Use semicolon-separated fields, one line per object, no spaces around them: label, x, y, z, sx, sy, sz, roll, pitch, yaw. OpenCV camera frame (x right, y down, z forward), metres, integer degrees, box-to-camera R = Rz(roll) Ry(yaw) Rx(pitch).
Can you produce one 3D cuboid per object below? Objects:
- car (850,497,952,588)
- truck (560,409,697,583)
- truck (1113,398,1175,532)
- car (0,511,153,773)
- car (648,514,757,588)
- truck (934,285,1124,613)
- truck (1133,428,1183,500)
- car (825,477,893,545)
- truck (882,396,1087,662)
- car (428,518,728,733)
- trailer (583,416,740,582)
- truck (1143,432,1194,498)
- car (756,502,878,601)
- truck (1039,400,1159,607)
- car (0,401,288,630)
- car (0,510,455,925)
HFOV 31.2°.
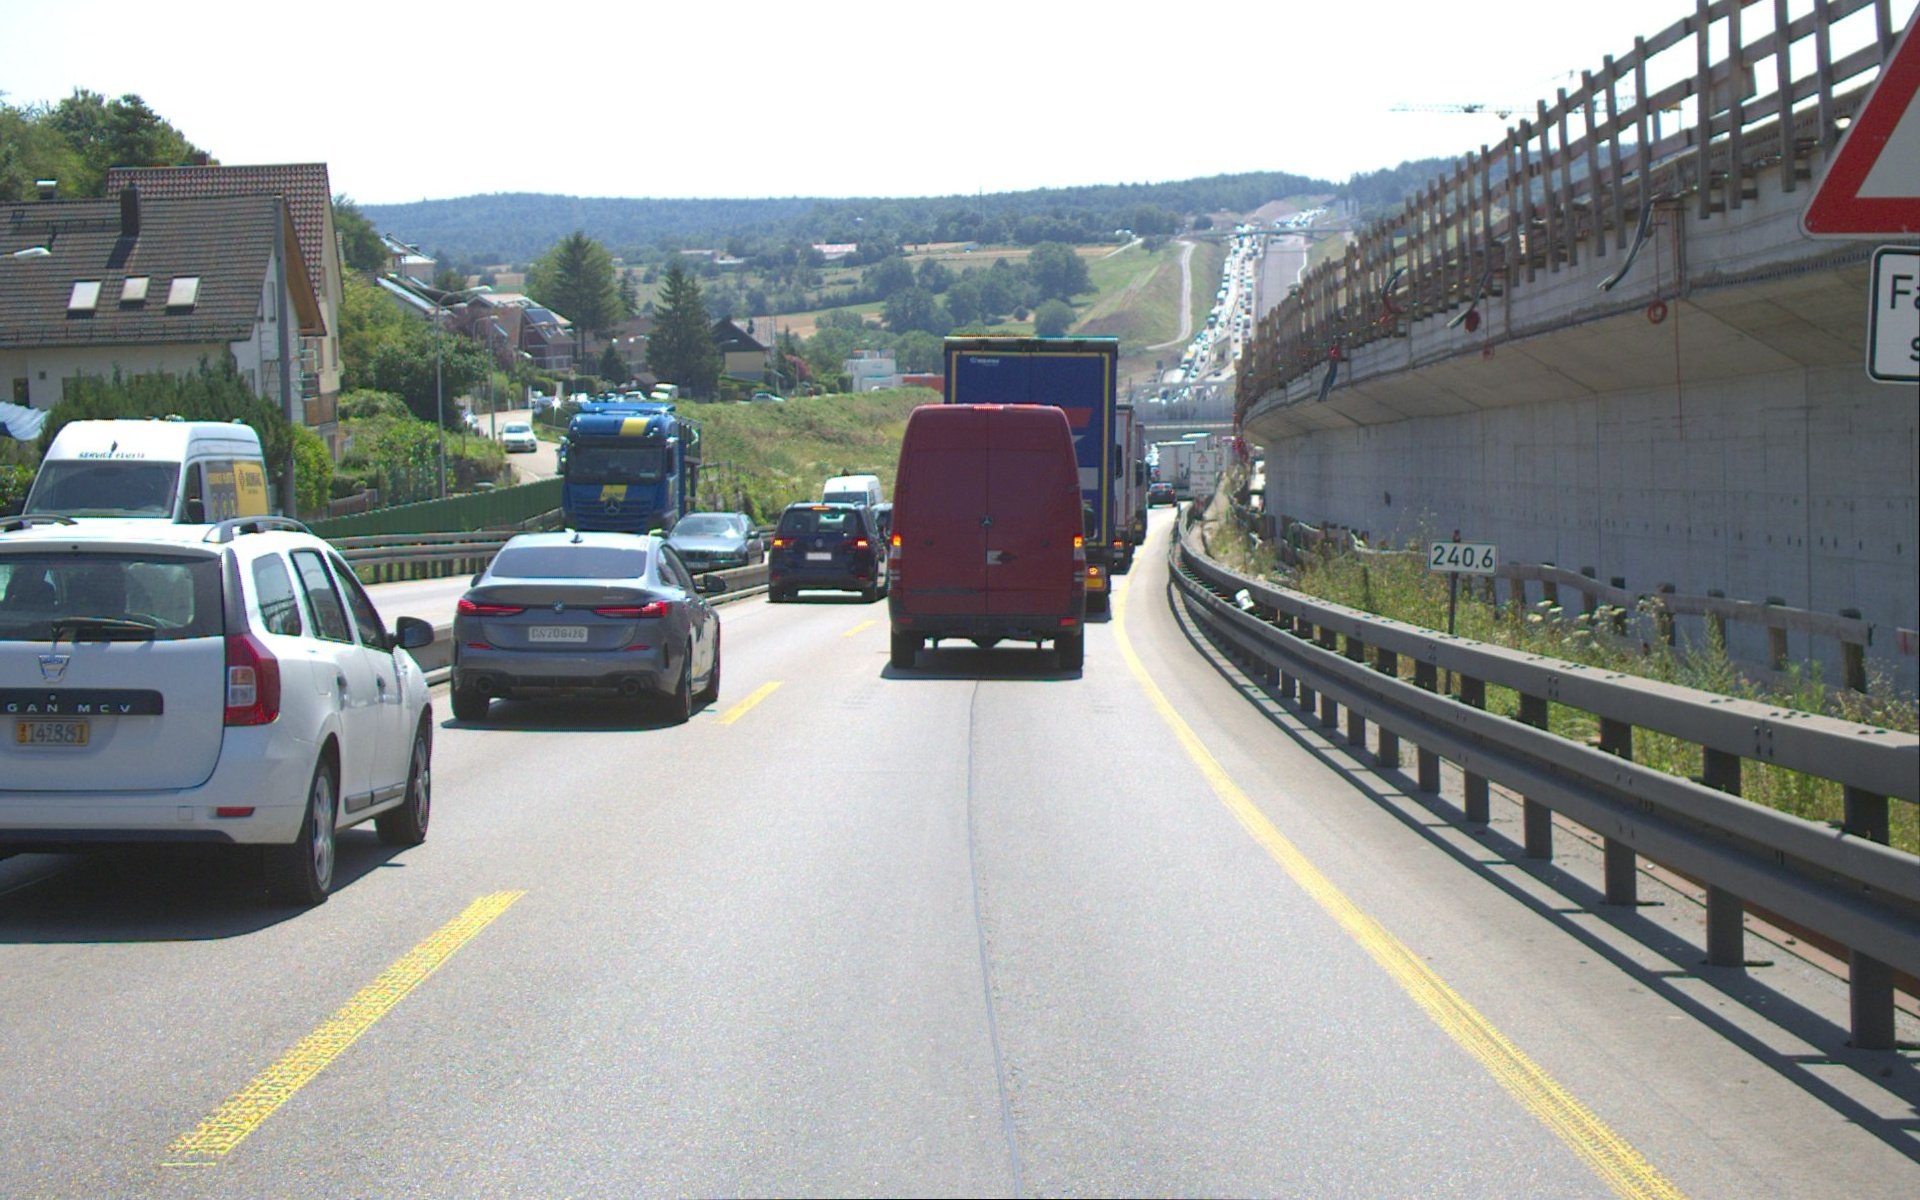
car;-1.199;-1.161;71.231;1.729;1.832;3.999;0;0;5
truck;-7.774;-2.384;81.098;2.509;3.951;5.175;0;0;3
truck;6.243;-4.530;116.474;1.994;4.366;3.999;0;0;4
car;-6.605;0.206;21.988;1.850;1.541;4.559;0;1;-1
car;-5.200;-1.023;69.916;1.544;1.459;4.628;0;1;4
truck;1.145;-2.221;55.219;2.786;4.799;9.684;0;0;2
truck;12.859;-8.757;222.718;3.069;4.366;8.555;0;0;4
car;-3.906;-3.438;134.166;1.994;2.498;5.514;0;0;6
truck;0.278;-0.690;35.329;1.993;2.570;4.000;0;0;1
car;-2.910;0.176;26.958;1.795;1.480;4.049;3;0;1
trailer;-7.483;-2.446;87.626;2.509;3.951;11.398;0;0;3
truck;14.777;-9.539;243.570;3.468;4.366;8.555;0;0;4
car;-2.363;-0.792;57.512;1.810;1.602;3.719;0;0;1
truck;3.365;-2.251;84.713;2.786;4.799;9.684;0;0;2
car;-9.935;-1.032;42.032;2.005;2.594;5.979;0;1;3
car;-3.324;0.423;14.689;1.651;1.478;4.266;-2;0;0
